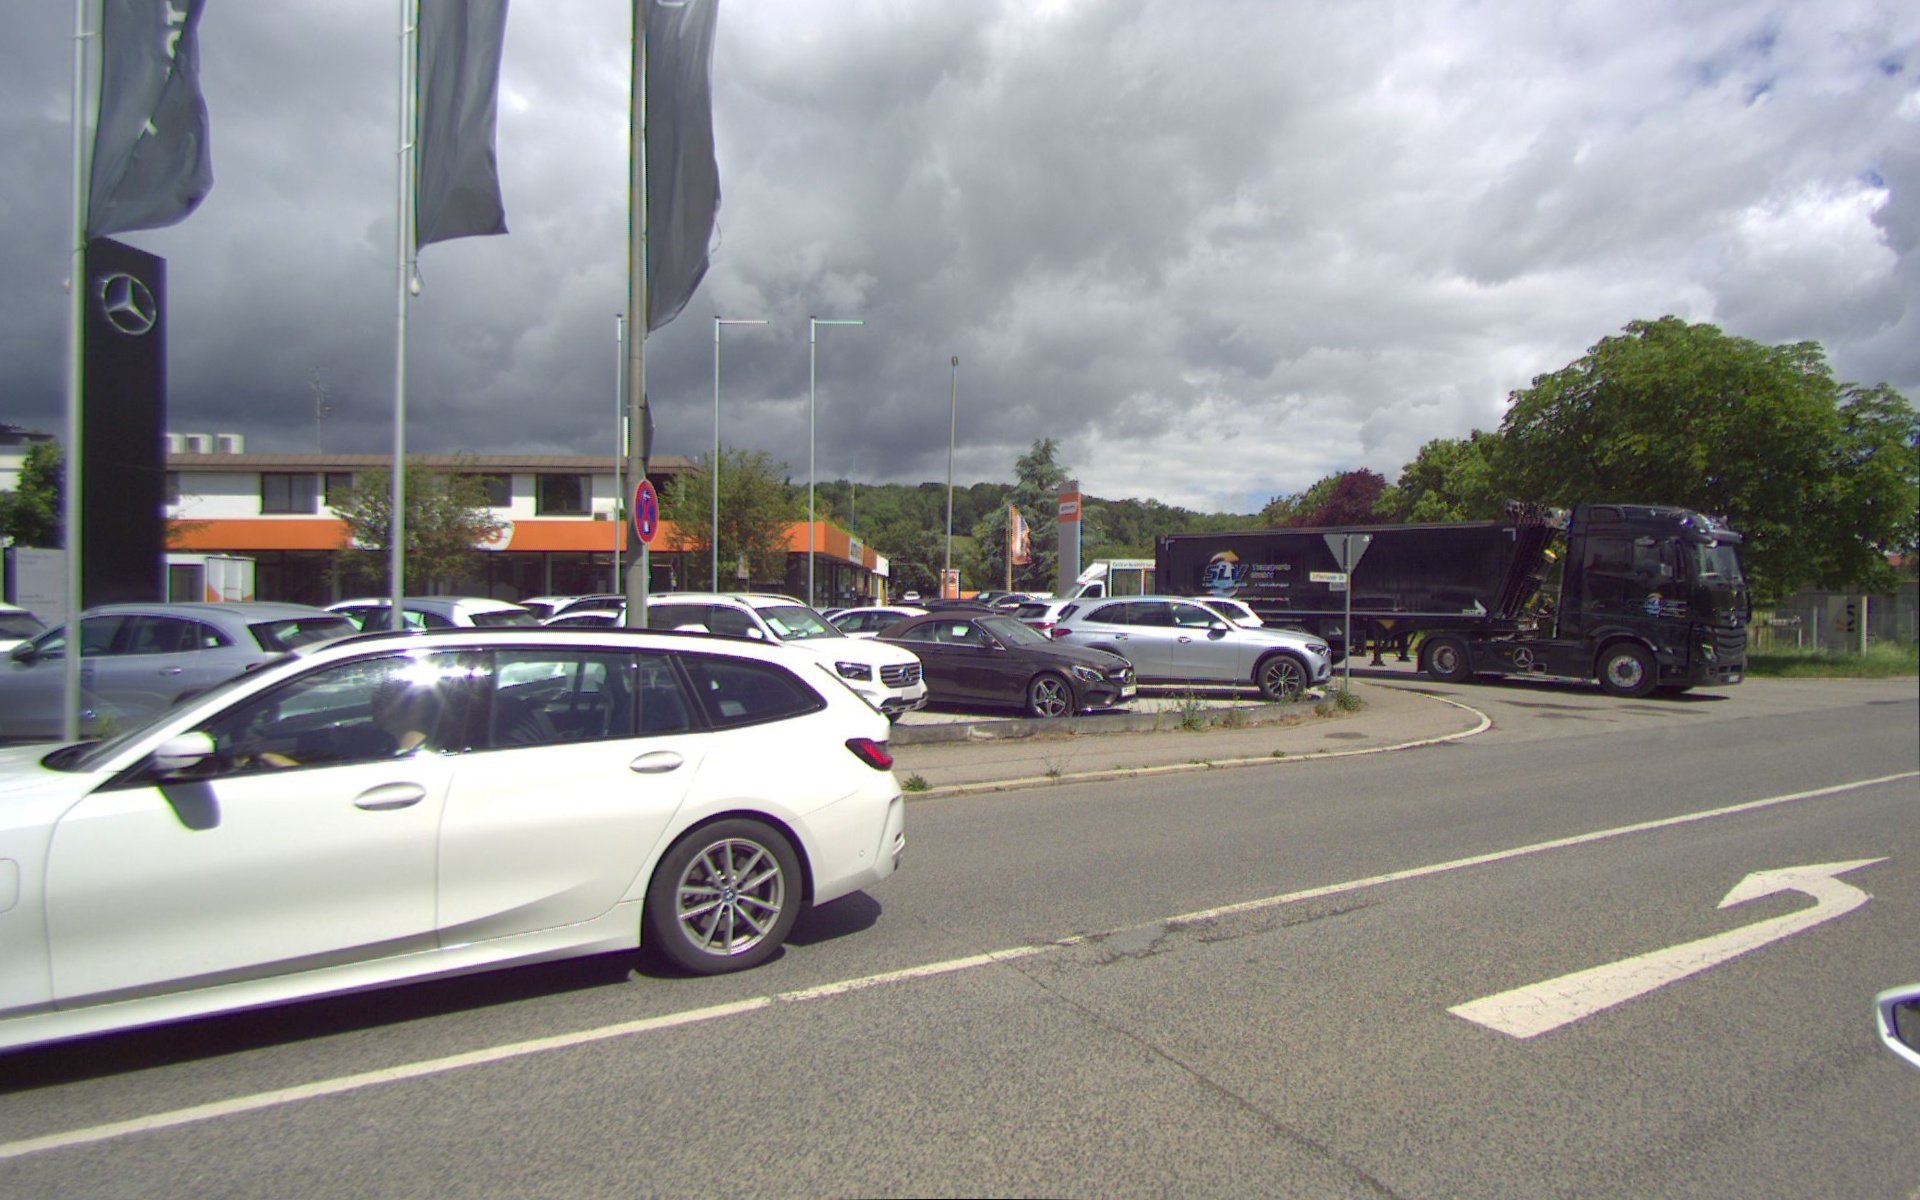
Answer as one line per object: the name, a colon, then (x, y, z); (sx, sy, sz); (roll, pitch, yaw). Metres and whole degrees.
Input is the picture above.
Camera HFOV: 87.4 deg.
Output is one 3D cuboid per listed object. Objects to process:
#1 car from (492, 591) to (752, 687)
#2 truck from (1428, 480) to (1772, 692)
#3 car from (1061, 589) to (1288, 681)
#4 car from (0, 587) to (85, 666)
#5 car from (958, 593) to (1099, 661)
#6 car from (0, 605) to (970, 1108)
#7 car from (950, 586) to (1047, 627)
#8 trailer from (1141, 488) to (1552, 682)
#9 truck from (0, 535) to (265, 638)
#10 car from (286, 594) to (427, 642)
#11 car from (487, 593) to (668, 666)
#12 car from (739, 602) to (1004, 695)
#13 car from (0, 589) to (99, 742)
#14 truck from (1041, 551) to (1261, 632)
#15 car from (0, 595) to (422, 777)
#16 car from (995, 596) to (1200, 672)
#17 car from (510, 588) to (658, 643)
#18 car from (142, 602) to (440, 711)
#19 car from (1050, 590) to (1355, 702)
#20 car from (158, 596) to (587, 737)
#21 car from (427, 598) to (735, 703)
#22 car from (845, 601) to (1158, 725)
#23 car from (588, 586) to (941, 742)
car: (-6.378, 0.680, 19.133); (4.344, 1.638, 1.868); (1, 1, 13)
truck: (13.466, -0.225, 21.500); (2.956, 3.874, 5.516); (1, -1, -36)
car: (4.495, 0.679, 20.887); (4.547, 1.744, 1.921); (1, 0, -31)
car: (-20.769, 0.529, 20.381); (1.889, 1.611, 4.585); (2, 0, 2)
car: (2.115, 0.781, 30.190); (4.034, 1.901, 1.959); (1, 0, 10)
car: (-2.319, 0.796, 4.424); (4.377, 1.469, 1.983); (1, -2, -32)
car: (1.840, 0.317, 48.991); (4.583, 1.870, 1.833); (1, 0, -3)
trailer: (9.531, -0.301, 25.827); (9.335, 4.137, 3.300); (0, -1, 43)
truck: (-29.618, -0.479, 36.055); (7.665, 3.469, 2.448); (1, 0, 1)
car: (-21.452, 0.623, 35.801); (3.922, 1.615, 1.731); (1, 0, -1)
car: (-9.330, 0.680, 24.813); (1.813, 1.650, 3.995); (0, 0, 27)
car: (-1.537, 0.818, 18.237); (4.466, 1.487, 1.868); (1, 1, 9)
car: (-12.306, 0.701, 11.157); (3.877, 1.647, 1.804); (0, 1, -1)
truck: (7.762, -0.294, 41.158); (8.435, 3.090, 2.661); (1, 0, -9)
car: (-8.106, 0.759, 10.111); (4.429, 1.587, 1.874); (0, 1, 6)
car: (3.257, 0.779, 23.446); (4.709, 1.622, 1.789); (1, -1, -31)
car: (-13.380, 0.542, 35.952); (4.583, 1.870, 1.833); (1, 0, -3)
car: (-10.985, 0.877, 16.630); (3.874, 1.647, 1.805); (0, 1, 8)
car: (3.960, 0.680, 16.771); (4.646, 1.626, 1.989); (1, 1, 13)
car: (-7.294, 0.760, 12.730); (4.429, 1.587, 1.874); (0, 1, 6)
car: (-6.145, 0.746, 16.401); (4.467, 1.487, 1.868); (1, 1, 16)
car: (0.559, 0.803, 14.705); (4.253, 1.485, 1.792); (1, 2, 31)
car: (-2.564, 0.698, 12.989); (4.221, 1.700, 1.934); (1, 0, 29)
